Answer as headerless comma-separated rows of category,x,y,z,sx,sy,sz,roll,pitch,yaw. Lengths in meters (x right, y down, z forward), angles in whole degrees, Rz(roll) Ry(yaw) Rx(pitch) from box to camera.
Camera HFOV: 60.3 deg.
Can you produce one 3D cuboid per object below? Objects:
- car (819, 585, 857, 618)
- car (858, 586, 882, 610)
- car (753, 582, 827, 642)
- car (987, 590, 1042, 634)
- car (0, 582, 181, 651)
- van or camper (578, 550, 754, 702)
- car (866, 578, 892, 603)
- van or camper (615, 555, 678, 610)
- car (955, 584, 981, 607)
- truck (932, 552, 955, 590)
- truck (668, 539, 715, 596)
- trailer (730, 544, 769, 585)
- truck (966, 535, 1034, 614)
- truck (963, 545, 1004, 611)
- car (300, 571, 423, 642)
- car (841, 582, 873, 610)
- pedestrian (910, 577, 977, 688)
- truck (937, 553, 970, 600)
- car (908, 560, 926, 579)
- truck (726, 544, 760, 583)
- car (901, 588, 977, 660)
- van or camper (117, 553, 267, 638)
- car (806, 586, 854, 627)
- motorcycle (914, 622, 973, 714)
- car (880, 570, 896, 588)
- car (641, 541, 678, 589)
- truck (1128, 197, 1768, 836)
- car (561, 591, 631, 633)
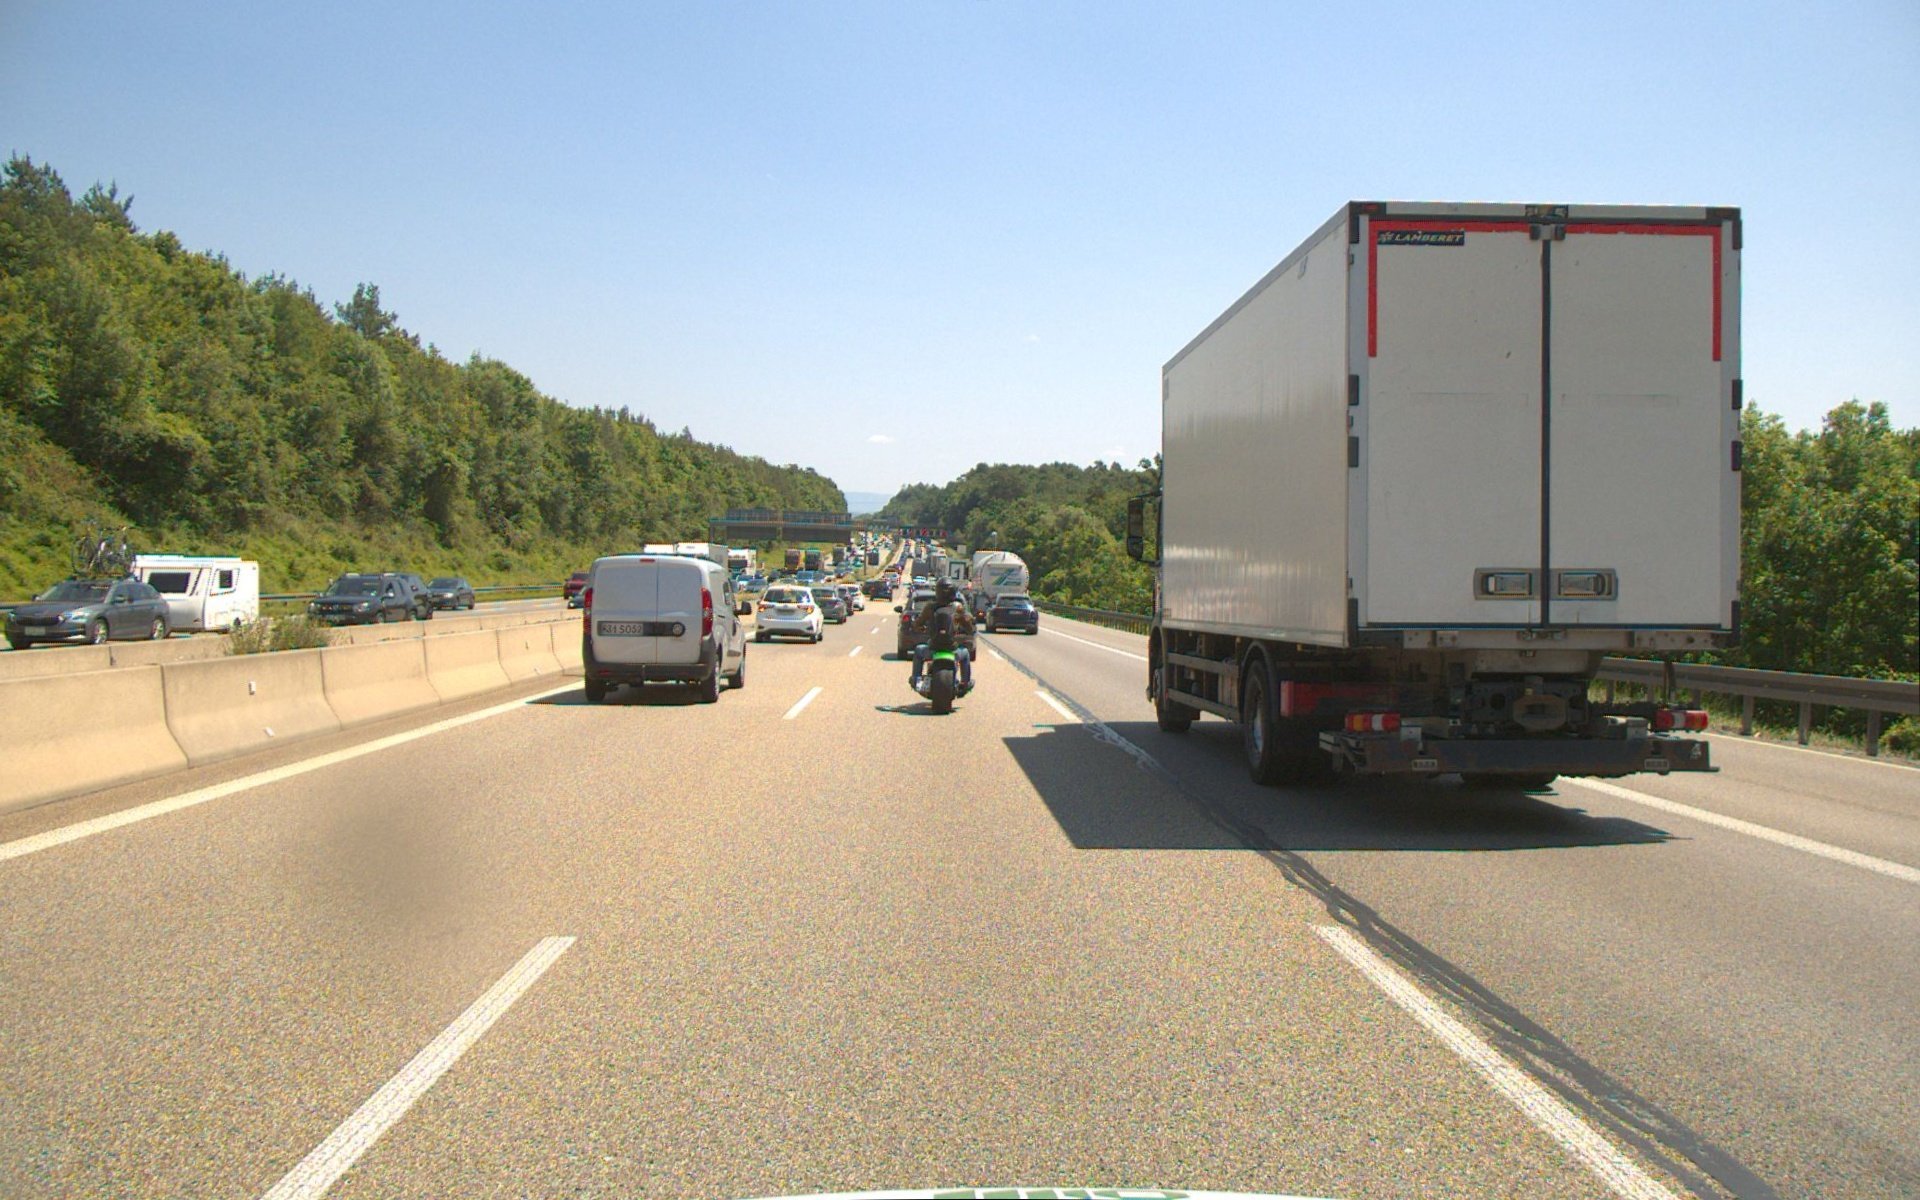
car,-6.055,0.061,82.652,1.665,1.504,3.999,2,1,-2
car,-7.983,-0.176,147.153,1.953,2.049,3.999,0,0,-1
car,-4.601,0.288,45.314,1.665,1.504,3.999,2,1,-2
car,2.031,0.439,62.669,1.792,1.496,3.999,3,1,-1
car,-18.812,0.321,35.762,1.764,1.370,4.722,1,0,-1
van or camper,-3.979,0.331,23.038,1.759,1.925,4.159,0,0,-1
car,-6.471,-0.772,132.609,1.842,1.892,3.999,2,1,-1
van or camper,-16.799,-0.951,88.960,2.185,2.809,6.835,1,0,-1
car,0.550,-0.322,120.627,1.751,1.582,3.802,2,1,-2
truck,-2.386,-4.116,236.767,2.972,5.228,9.980,3,1,-1
truck,-21.198,-2.538,130.869,2.783,4.288,5.658,1,0,-2
trailer,-24.653,-4.096,194.130,2.745,4.414,14.036,1,0,0
truck,1.908,-1.203,82.690,2.927,3.735,9.284,0,0,-1
truck,1.275,-1.183,91.736,1.954,3.584,4.747,0,0,-4
car,-15.150,0.138,42.094,1.658,1.712,4.195,1,0,-1
car,-5.904,-0.255,95.352,1.665,1.504,3.999,2,1,-2
pedestrian,-0.210,0.402,21.198,0.832,1.385,0.961,0,0,0
truck,-0.736,-2.487,175.885,2.972,4.621,9.980,3,1,-1
car,-6.193,-4.392,238.546,2.454,2.632,5.015,2,1,-2
truck,-24.618,-4.098,188.111,2.745,4.238,7.600,1,0,0
car,-0.427,0.500,37.194,1.501,1.536,4.001,0,0,2
van or camper,-18.964,-0.122,41.037,2.034,2.011,3.704,0,0,-1
car,-5.207,0.235,66.527,1.665,1.504,3.999,2,1,-2
motorcycle,-0.208,0.842,21.145,0.677,1.033,2.121,3,0,0
car,-8.739,-2.525,200.666,1.890,2.049,3.999,0,0,-1
car,-25.306,-2.912,139.403,2.399,3.941,4.564,0,0,-2
truck,3.537,-0.556,15.160,2.634,3.944,9.776,-1,0,-2
car,-12.708,0.406,58.005,1.581,1.400,4.269,1,0,-1
